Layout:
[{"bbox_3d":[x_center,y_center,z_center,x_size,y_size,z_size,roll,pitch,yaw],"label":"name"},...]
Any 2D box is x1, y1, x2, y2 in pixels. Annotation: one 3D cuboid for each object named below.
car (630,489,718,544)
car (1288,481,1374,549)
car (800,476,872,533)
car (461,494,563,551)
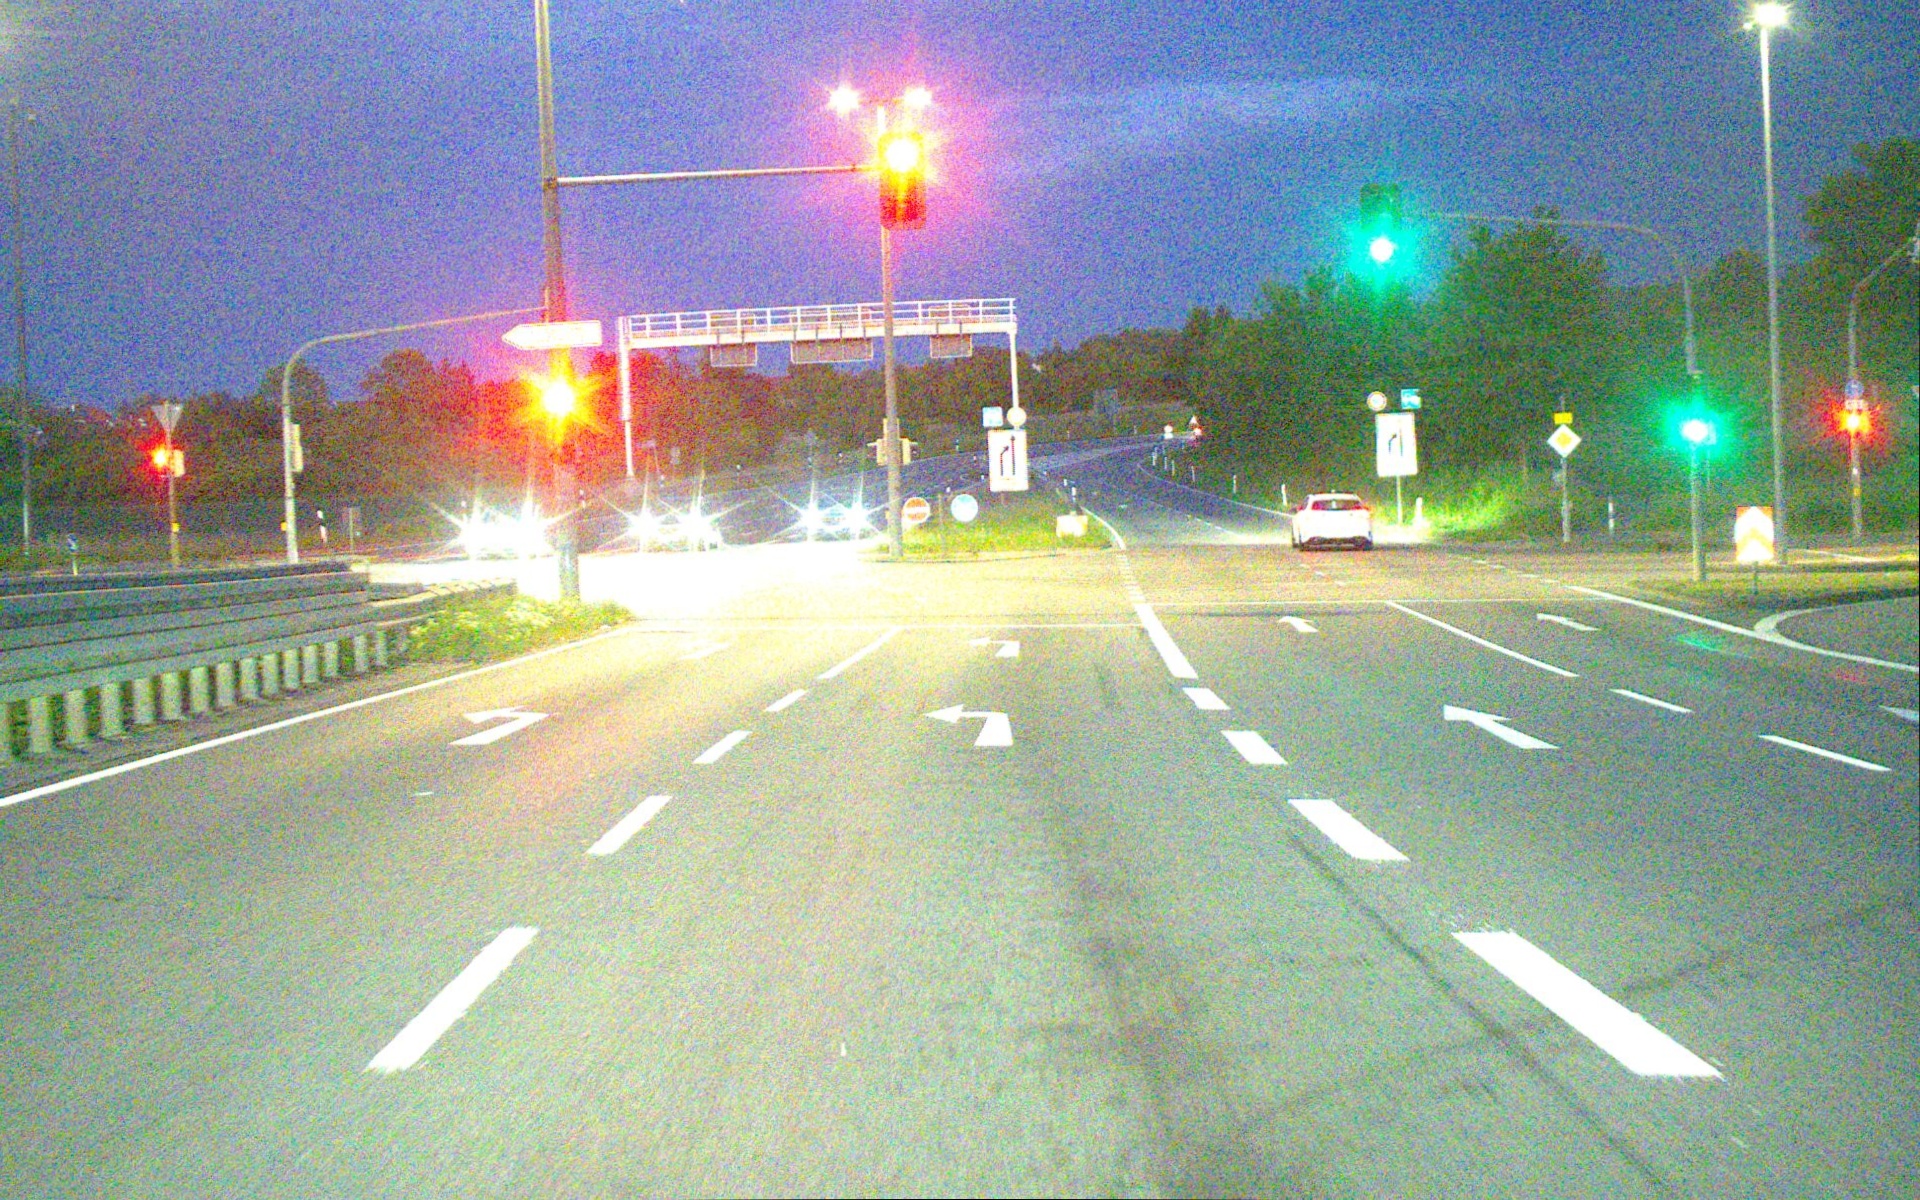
[{"bbox_3d":[-8.026,-2.379,96.827,1.993,1.476,4.682,-1,2,1],"label":"car"},{"bbox_3d":[9.181,-2.131,85.253,2.008,1.605,3.845,0,2,5],"label":"car"},{"bbox_3d":[-3.842,-3.008,107.374,1.993,1.692,4.000,-1,2,1],"label":"car"},{"bbox_3d":[-11.807,-2.065,90.849,1.993,1.420,4.532,-1,2,1],"label":"car"}]
